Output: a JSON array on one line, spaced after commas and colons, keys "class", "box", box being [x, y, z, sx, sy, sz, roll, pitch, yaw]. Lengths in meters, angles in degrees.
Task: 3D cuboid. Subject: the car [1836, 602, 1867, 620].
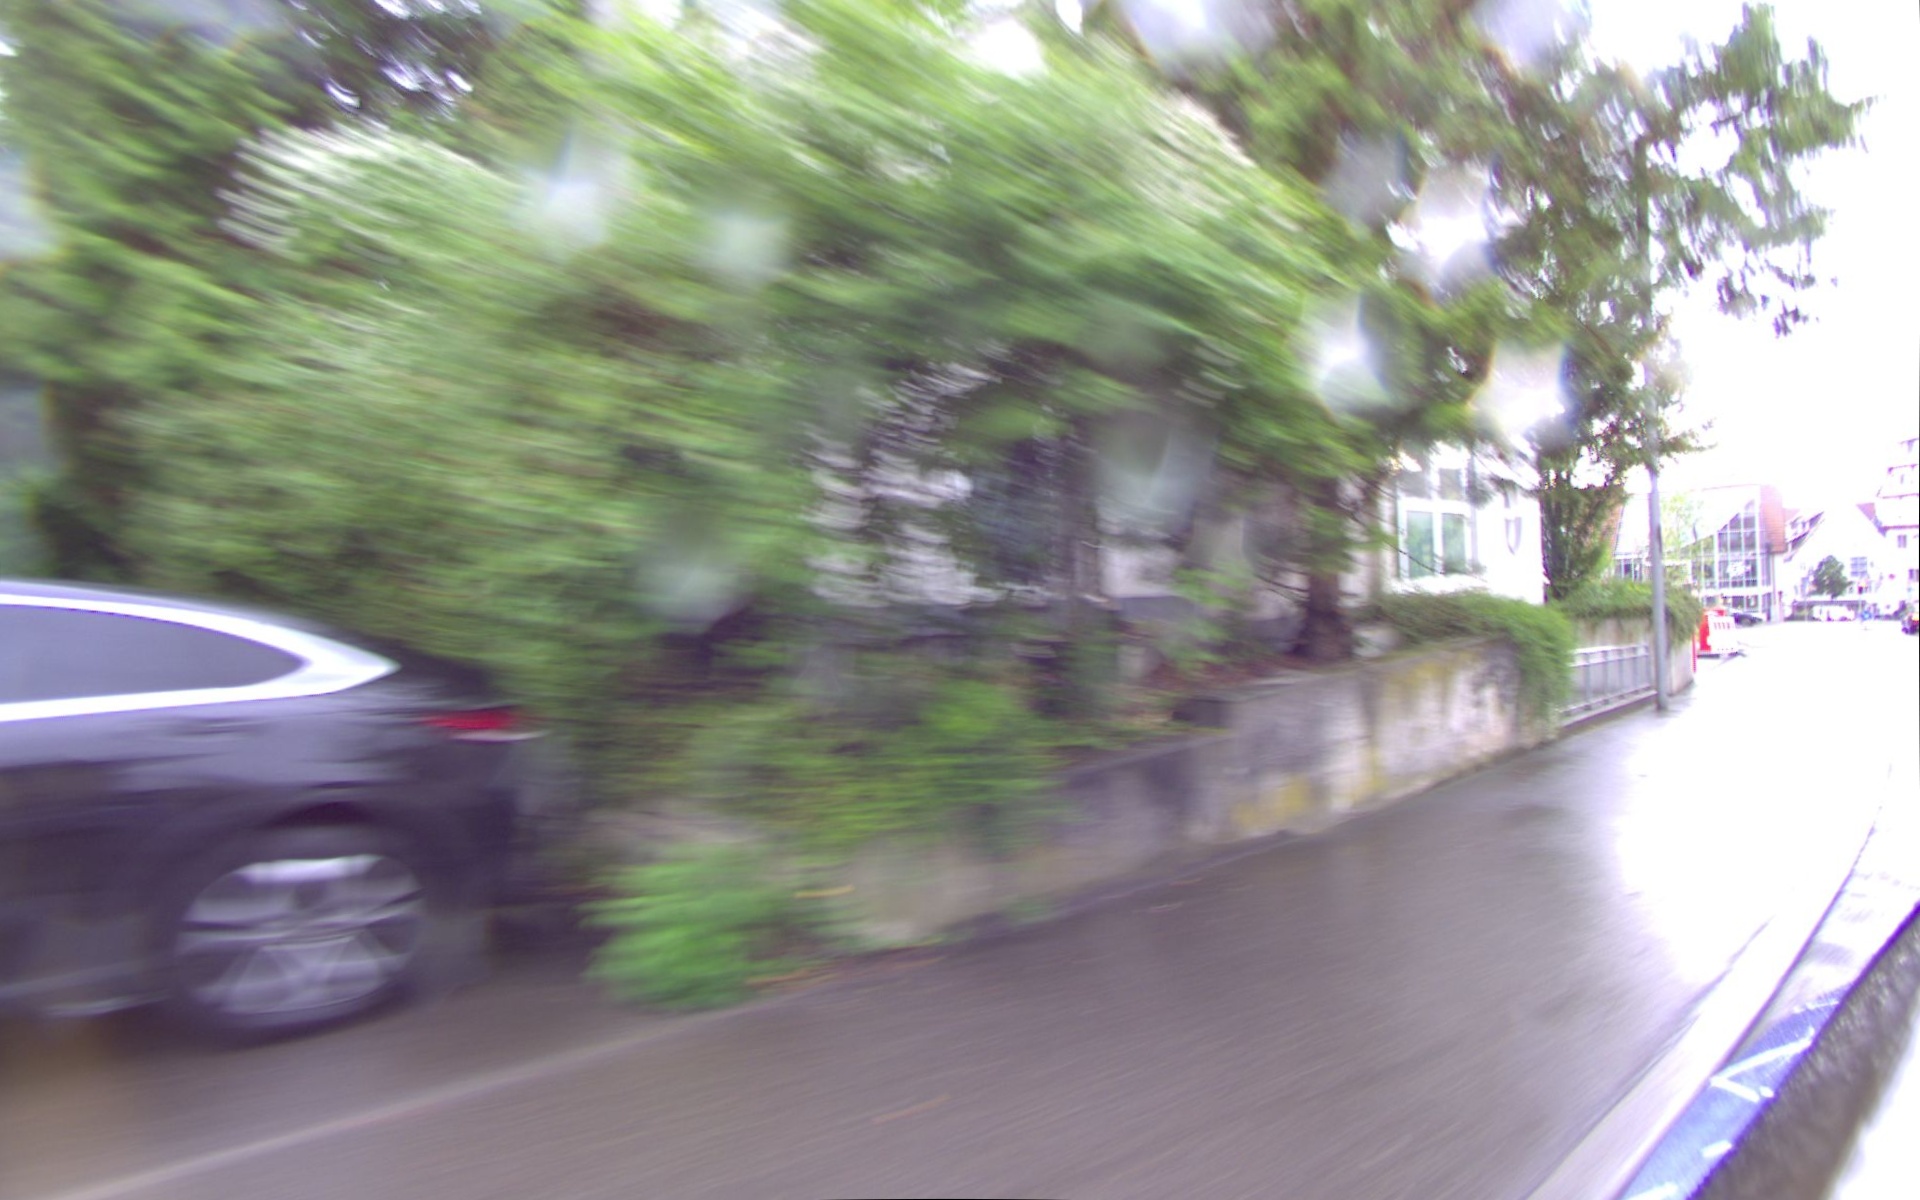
[{"class": "car", "box": [82.711, 1.024, 93.927, 1.718, 1.567, 3.946, -2, -2, 37]}]

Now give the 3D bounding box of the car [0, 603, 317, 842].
[{"class": "car", "box": [-6.682, 0.747, 6.527, 1.737, 1.453, 3.965, 0, 0, 41]}]

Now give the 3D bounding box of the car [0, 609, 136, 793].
[{"class": "car", "box": [-8.771, 0.812, 8.015, 1.605, 1.453, 3.271, 0, 0, 41]}]

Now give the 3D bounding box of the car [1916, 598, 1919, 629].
[{"class": "car", "box": [52.447, 0.692, 53.990, 1.846, 1.685, 4.156, -2, -2, 41]}]

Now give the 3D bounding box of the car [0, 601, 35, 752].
[{"class": "car", "box": [-10.827, 0.734, 9.363, 1.759, 1.453, 3.267, 0, 0, 44]}]

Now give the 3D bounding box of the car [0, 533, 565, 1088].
[{"class": "car", "box": [-3.873, 0.648, 3.082, 4.650, 1.590, 1.781, 0, -3, -44]}]
